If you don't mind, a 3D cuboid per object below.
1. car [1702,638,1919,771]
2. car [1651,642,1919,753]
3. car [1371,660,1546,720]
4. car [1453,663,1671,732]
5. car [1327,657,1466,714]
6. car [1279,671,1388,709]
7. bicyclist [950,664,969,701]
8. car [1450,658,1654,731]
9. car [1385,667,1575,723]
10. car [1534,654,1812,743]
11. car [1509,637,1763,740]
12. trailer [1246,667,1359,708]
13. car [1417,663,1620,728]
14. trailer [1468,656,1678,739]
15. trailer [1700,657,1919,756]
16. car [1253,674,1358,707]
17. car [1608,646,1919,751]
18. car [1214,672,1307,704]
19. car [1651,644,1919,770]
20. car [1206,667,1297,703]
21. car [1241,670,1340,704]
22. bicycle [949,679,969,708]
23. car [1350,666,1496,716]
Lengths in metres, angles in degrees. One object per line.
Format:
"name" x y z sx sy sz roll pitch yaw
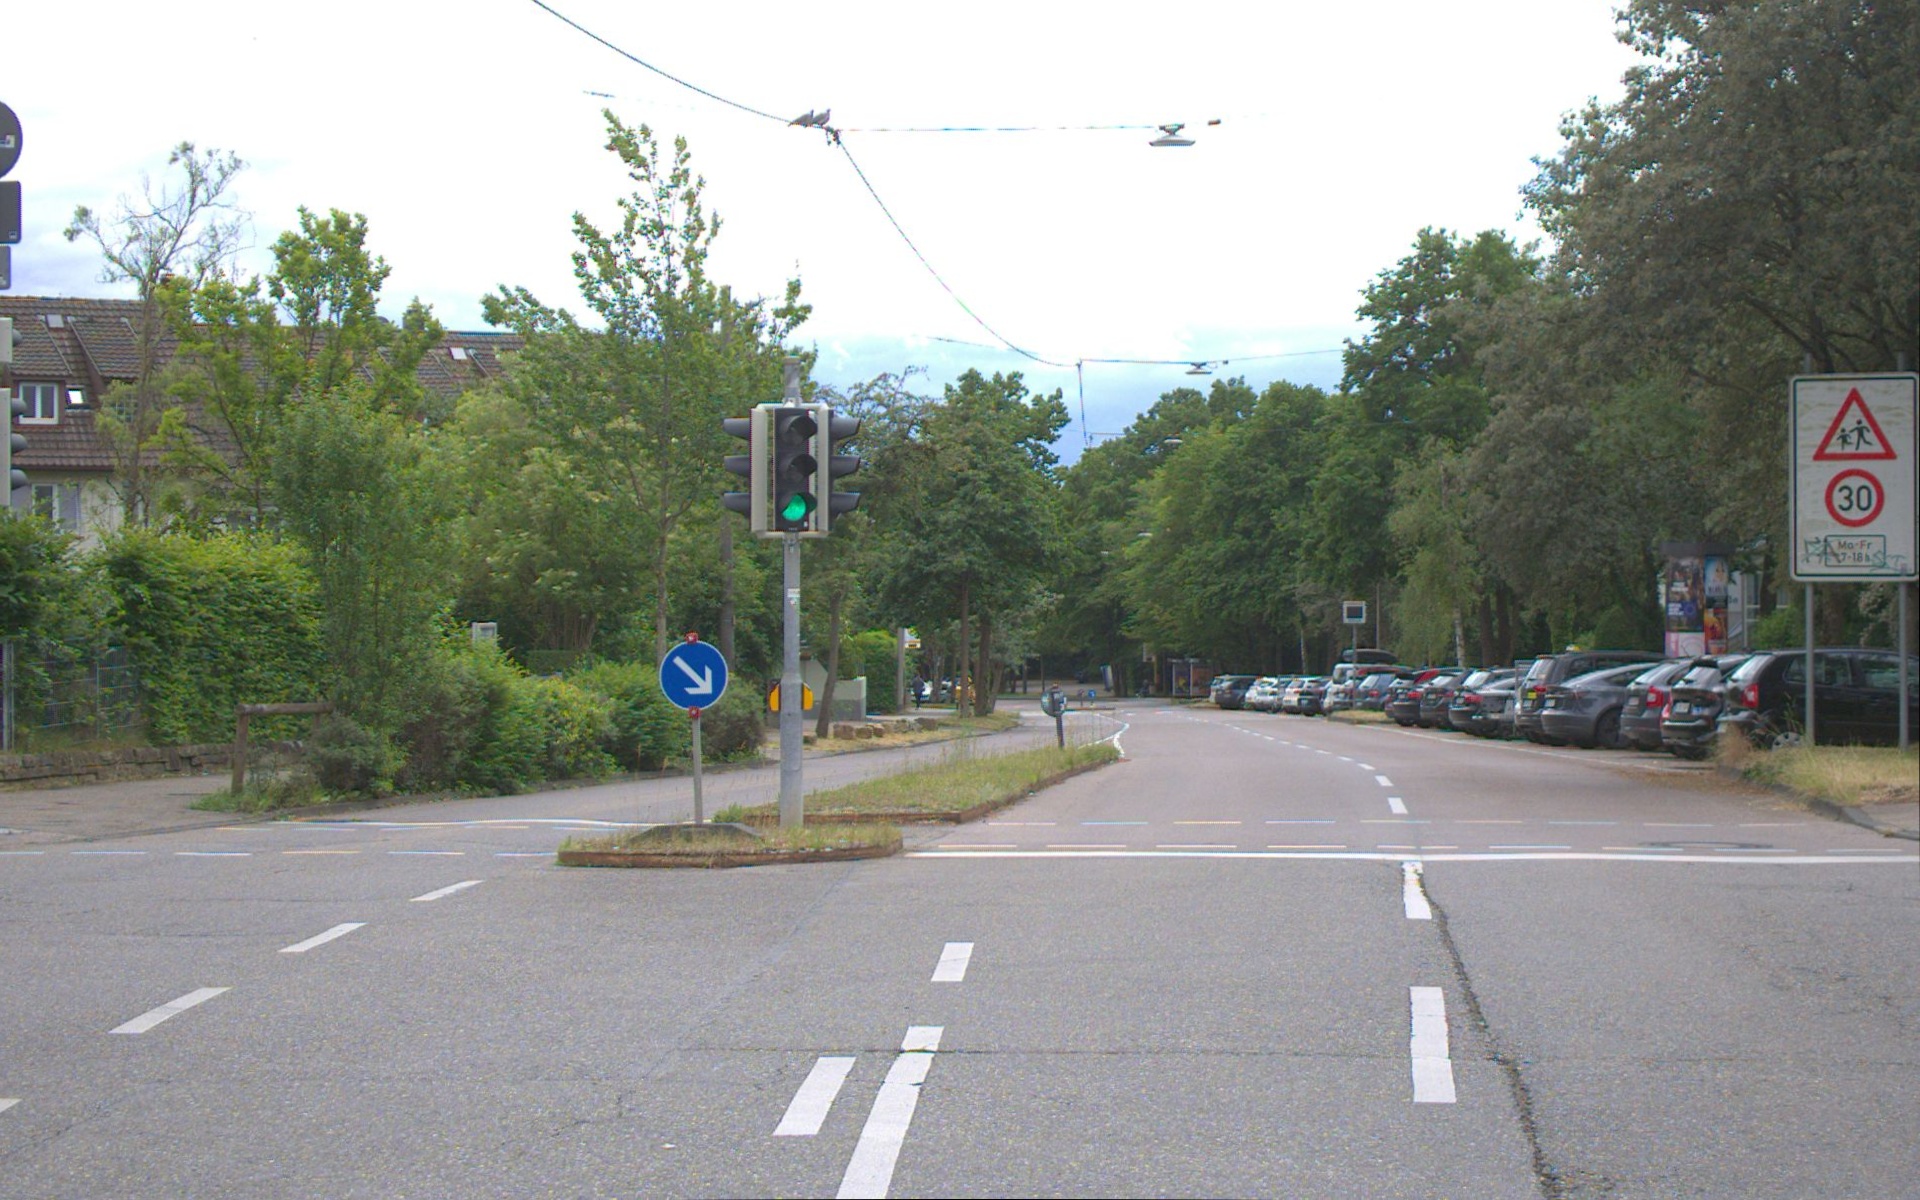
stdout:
"car" 10.566 1.194 39.555 3.716 1.471 1.576 1 -1 1
"car" 11.464 1.342 47.221 3.522 1.471 1.592 1 -1 -9
"car" 12.723 2.302 87.800 4.070 1.510 1.734 0 -2 -19
"car" 12.072 1.965 69.081 4.036 1.323 1.559 1 -2 -6
"car" 14.107 2.759 111.097 4.085 1.748 1.787 2 -1 -23
"car" 14.762 3.557 135.966 3.883 1.444 1.744 1 -2 -18
"bicyclist" -0.021 3.793 158.476 0.845 1.692 0.713 0 -1 2
"car" 12.447 1.982 72.333 3.910 1.481 1.618 1 -1 -12
"car" 12.825 2.348 84.881 4.311 1.336 1.734 1 -2 -10
"car" 11.728 1.630 56.638 4.158 1.402 1.698 1 -2 -8
"car" 11.654 1.542 59.416 3.985 1.719 1.680 1 -2 -6
"trailer" 13.763 3.537 138.201 4.153 1.568 1.712 1 -2 -16
"car" 12.910 2.211 79.535 4.343 1.440 1.634 1 -1 -11
"trailer" 11.942 1.893 67.034 3.687 1.530 1.646 1 -1 -8
"trailer" 11.587 1.401 44.952 3.401 1.262 1.616 1 -2 -6
"car" 14.148 3.716 140.867 3.883 1.305 1.744 1 -2 -21
"car" 11.668 1.419 49.715 4.218 1.459 1.635 1 -1 -5
"car" 13.918 4.089 159.261 3.883 1.424 1.744 1 -2 -16
"car" 10.693 1.309 41.983 4.134 1.471 1.576 1 -2 -7
"car" 13.747 4.015 162.065 3.883 1.662 1.744 1 -2 -16
"car" 14.339 3.785 149.231 3.883 1.424 1.744 1 -2 -16
"bicycle" -0.029 4.309 158.415 0.845 1.262 2.651 0 -1 1
"car" 13.864 2.726 103.040 3.963 1.401 1.757 1 -1 -12
